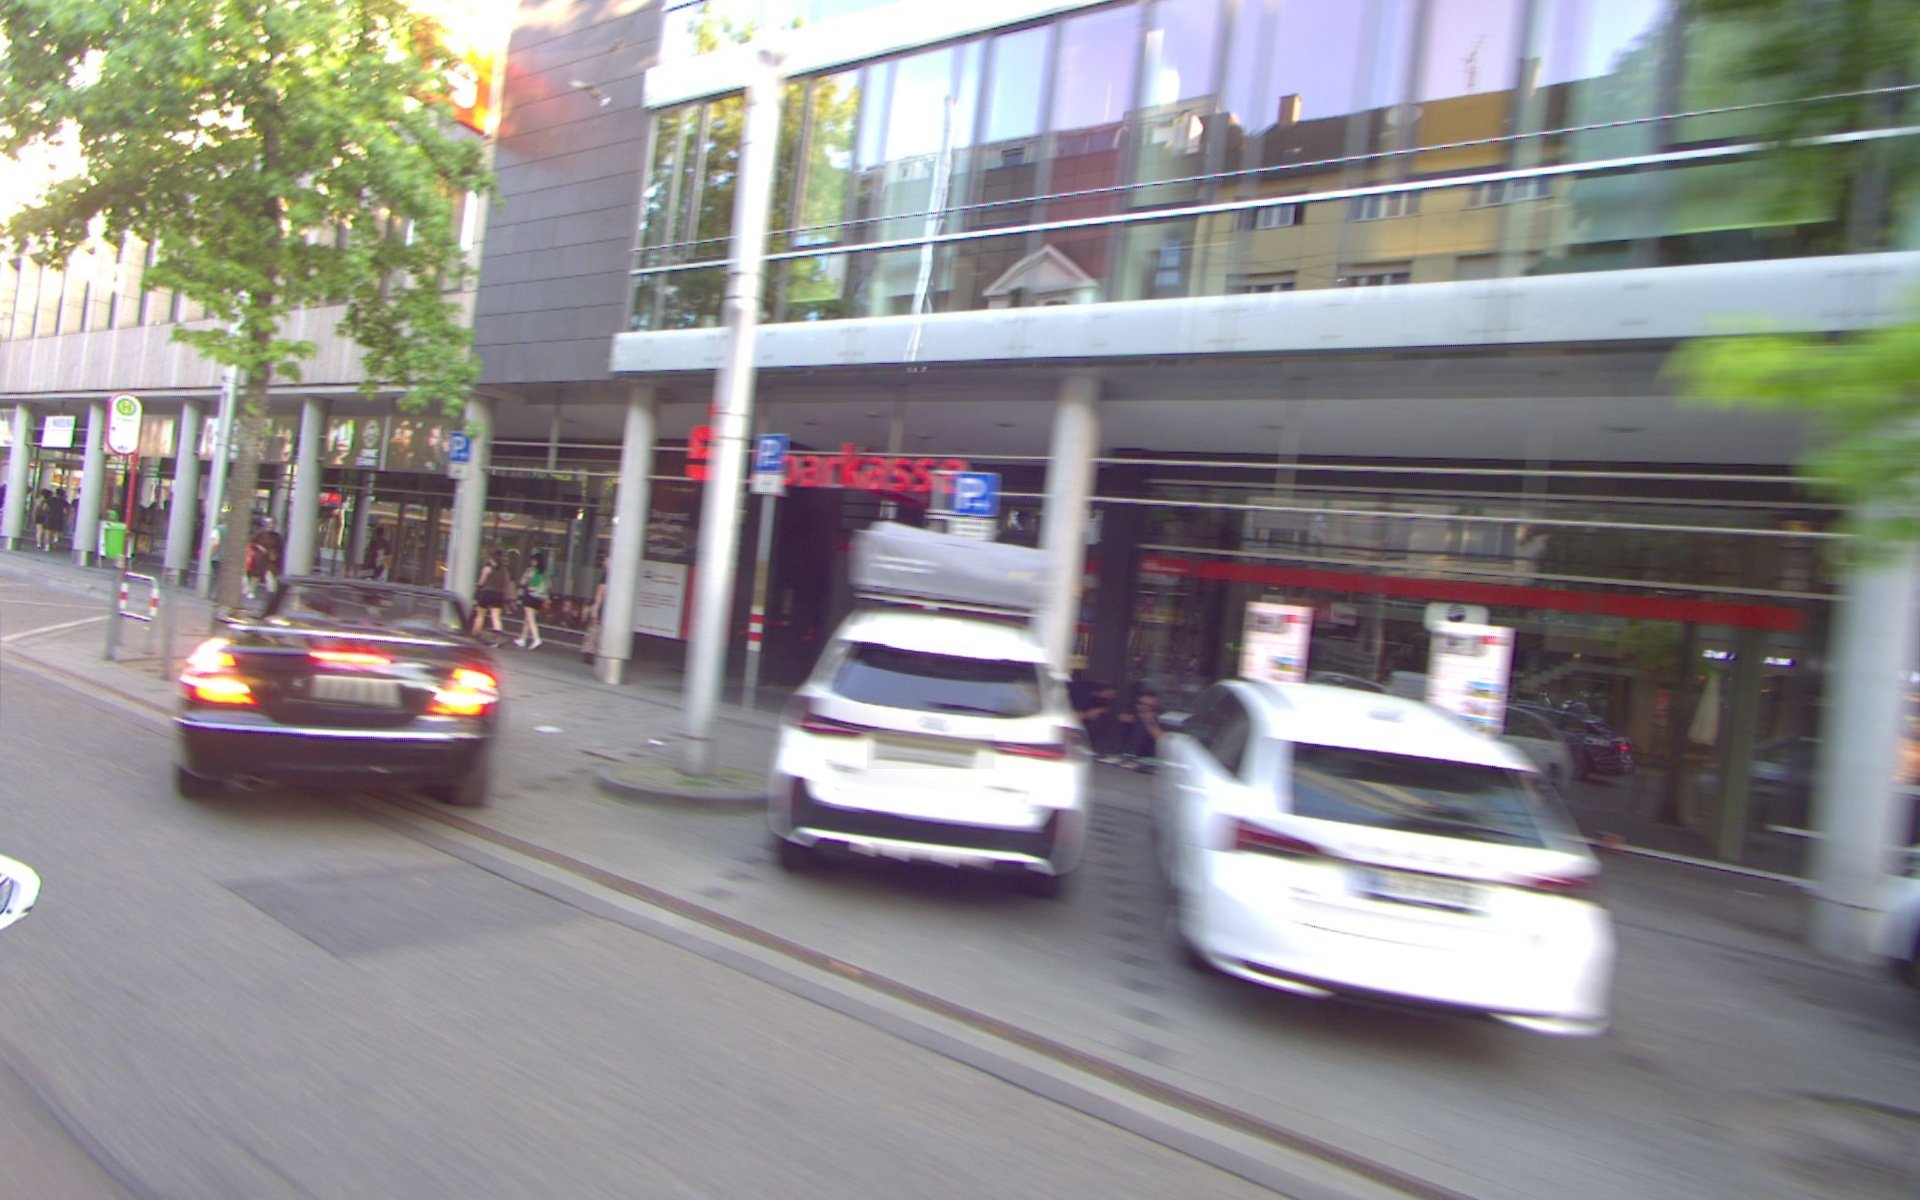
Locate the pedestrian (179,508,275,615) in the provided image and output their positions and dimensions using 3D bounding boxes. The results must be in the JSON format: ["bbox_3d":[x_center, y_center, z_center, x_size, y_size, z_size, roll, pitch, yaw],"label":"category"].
[{"bbox_3d":[-12.214,-0.639,16.778,0.743,1.599,0.879,8,-1,31],"label":"pedestrian"}]

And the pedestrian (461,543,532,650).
[{"bbox_3d":[-7.619,-0.051,16.528,0.743,1.637,0.596,8,2,31],"label":"pedestrian"}]

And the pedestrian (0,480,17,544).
[{"bbox_3d":[-29.103,-2.701,30.317,0.815,1.863,0.701,8,2,32],"label":"pedestrian"}]

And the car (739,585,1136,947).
[{"bbox_3d":[-0.115,0.832,7.294,1.885,1.659,4.204,7,1,0],"label":"car"}]

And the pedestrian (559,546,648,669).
[{"bbox_3d":[-5.562,0.130,15.711,0.743,1.805,0.878,8,2,31],"label":"pedestrian"}]

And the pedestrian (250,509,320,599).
[{"bbox_3d":[-15.138,-1.026,22.568,0.928,1.859,0.833,8,1,32],"label":"pedestrian"}]

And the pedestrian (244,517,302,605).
[{"bbox_3d":[-13.751,-0.781,20.129,0.743,1.637,0.596,8,2,32],"label":"pedestrian"}]

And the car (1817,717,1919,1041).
[{"bbox_3d":[5.887,1.579,3.535,1.842,1.583,4.341,6,1,-1],"label":"car"}]

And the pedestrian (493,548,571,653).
[{"bbox_3d":[-7.258,0.008,17.057,1.004,1.637,0.596,8,2,31],"label":"pedestrian"}]

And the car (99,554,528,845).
[{"bbox_3d":[-4.401,0.506,7.260,1.788,1.364,4.412,8,-1,-29],"label":"car"}]

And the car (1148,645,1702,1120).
[{"bbox_3d":[2.216,1.207,6.127,1.828,1.476,4.184,6,1,9],"label":"car"}]

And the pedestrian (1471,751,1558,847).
[{"bbox_3d":[5.596,1.988,10.154,0.654,0.791,0.608,6,-1,34],"label":"pedestrian"}]

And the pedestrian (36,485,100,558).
[{"bbox_3d":[-25.560,-2.230,28.828,0.913,1.901,1.054,8,2,32],"label":"pedestrian"}]

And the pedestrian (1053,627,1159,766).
[{"bbox_3d":[1.794,1.166,12.357,0.957,1.545,0.660,6,-1,34],"label":"pedestrian"}]

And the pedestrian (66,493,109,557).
[{"bbox_3d":[-24.270,-2.090,27.975,0.815,1.637,0.596,8,2,32],"label":"pedestrian"}]

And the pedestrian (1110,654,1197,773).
[{"bbox_3d":[2.330,1.355,12.105,0.721,1.306,0.634,6,-1,34],"label":"pedestrian"}]

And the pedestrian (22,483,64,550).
[{"bbox_3d":[-27.227,-2.476,29.869,0.815,1.863,0.596,8,2,32],"label":"pedestrian"}]
